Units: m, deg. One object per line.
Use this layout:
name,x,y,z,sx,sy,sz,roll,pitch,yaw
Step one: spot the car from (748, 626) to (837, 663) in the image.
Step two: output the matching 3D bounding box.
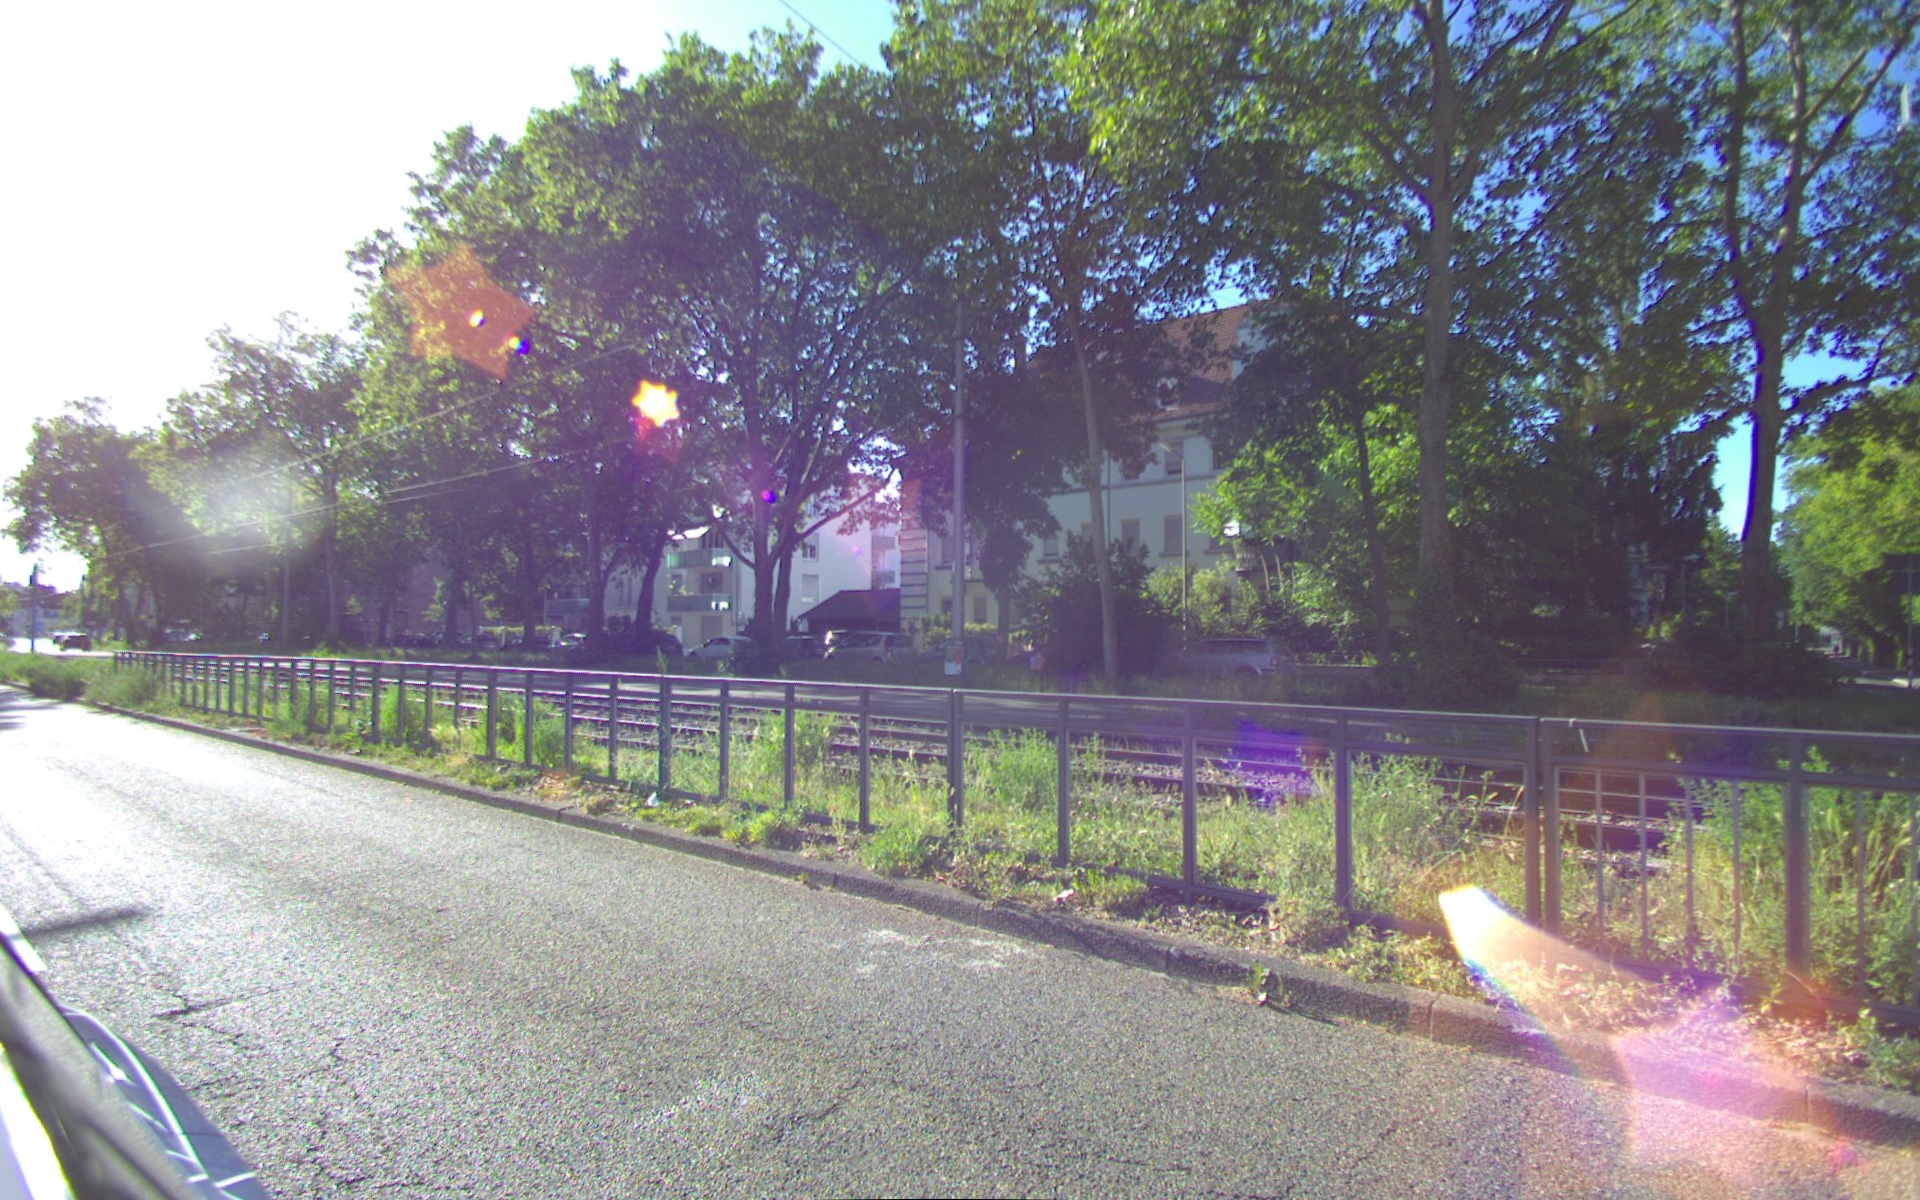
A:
car,-7.029,1.841,42.338,3.696,1.476,1.756,-2,-3,42

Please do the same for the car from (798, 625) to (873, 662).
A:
car,-6.587,2.261,53.244,3.818,1.874,1.830,-2,-3,40

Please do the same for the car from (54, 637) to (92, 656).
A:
car,-79.838,4.186,91.060,4.456,1.660,1.838,-2,-3,40

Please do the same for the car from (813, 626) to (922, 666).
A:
car,-3.636,1.777,39.301,4.317,1.451,1.717,-2,-3,42

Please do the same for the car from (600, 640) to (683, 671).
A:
car,-15.661,2.688,49.625,4.317,1.464,1.972,-2,-3,42

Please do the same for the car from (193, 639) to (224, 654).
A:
car,-74.292,4.572,100.001,3.687,1.497,1.748,-2,-3,42

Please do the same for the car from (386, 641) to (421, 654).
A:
car,-37.666,3.215,68.442,3.058,0.883,1.094,-2,-3,41

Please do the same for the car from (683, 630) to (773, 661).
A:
car,-10.397,2.035,45.276,4.459,1.334,1.623,-2,-5,42

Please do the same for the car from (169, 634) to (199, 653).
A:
car,-82.149,4.593,107.107,1.970,2.029,4.002,2,-3,-45

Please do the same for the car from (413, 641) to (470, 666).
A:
car,-33.534,3.439,65.452,3.998,1.497,1.972,-2,-3,42

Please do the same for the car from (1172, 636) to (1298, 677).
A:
car,7.916,1.608,29.269,3.213,1.125,1.458,-2,-2,38

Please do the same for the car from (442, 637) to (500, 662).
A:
car,-30.041,3.023,62.159,3.998,1.484,1.778,-2,-3,41

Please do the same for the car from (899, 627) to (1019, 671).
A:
car,-0.087,1.705,36.000,1.764,1.452,4.321,1,-2,-45
